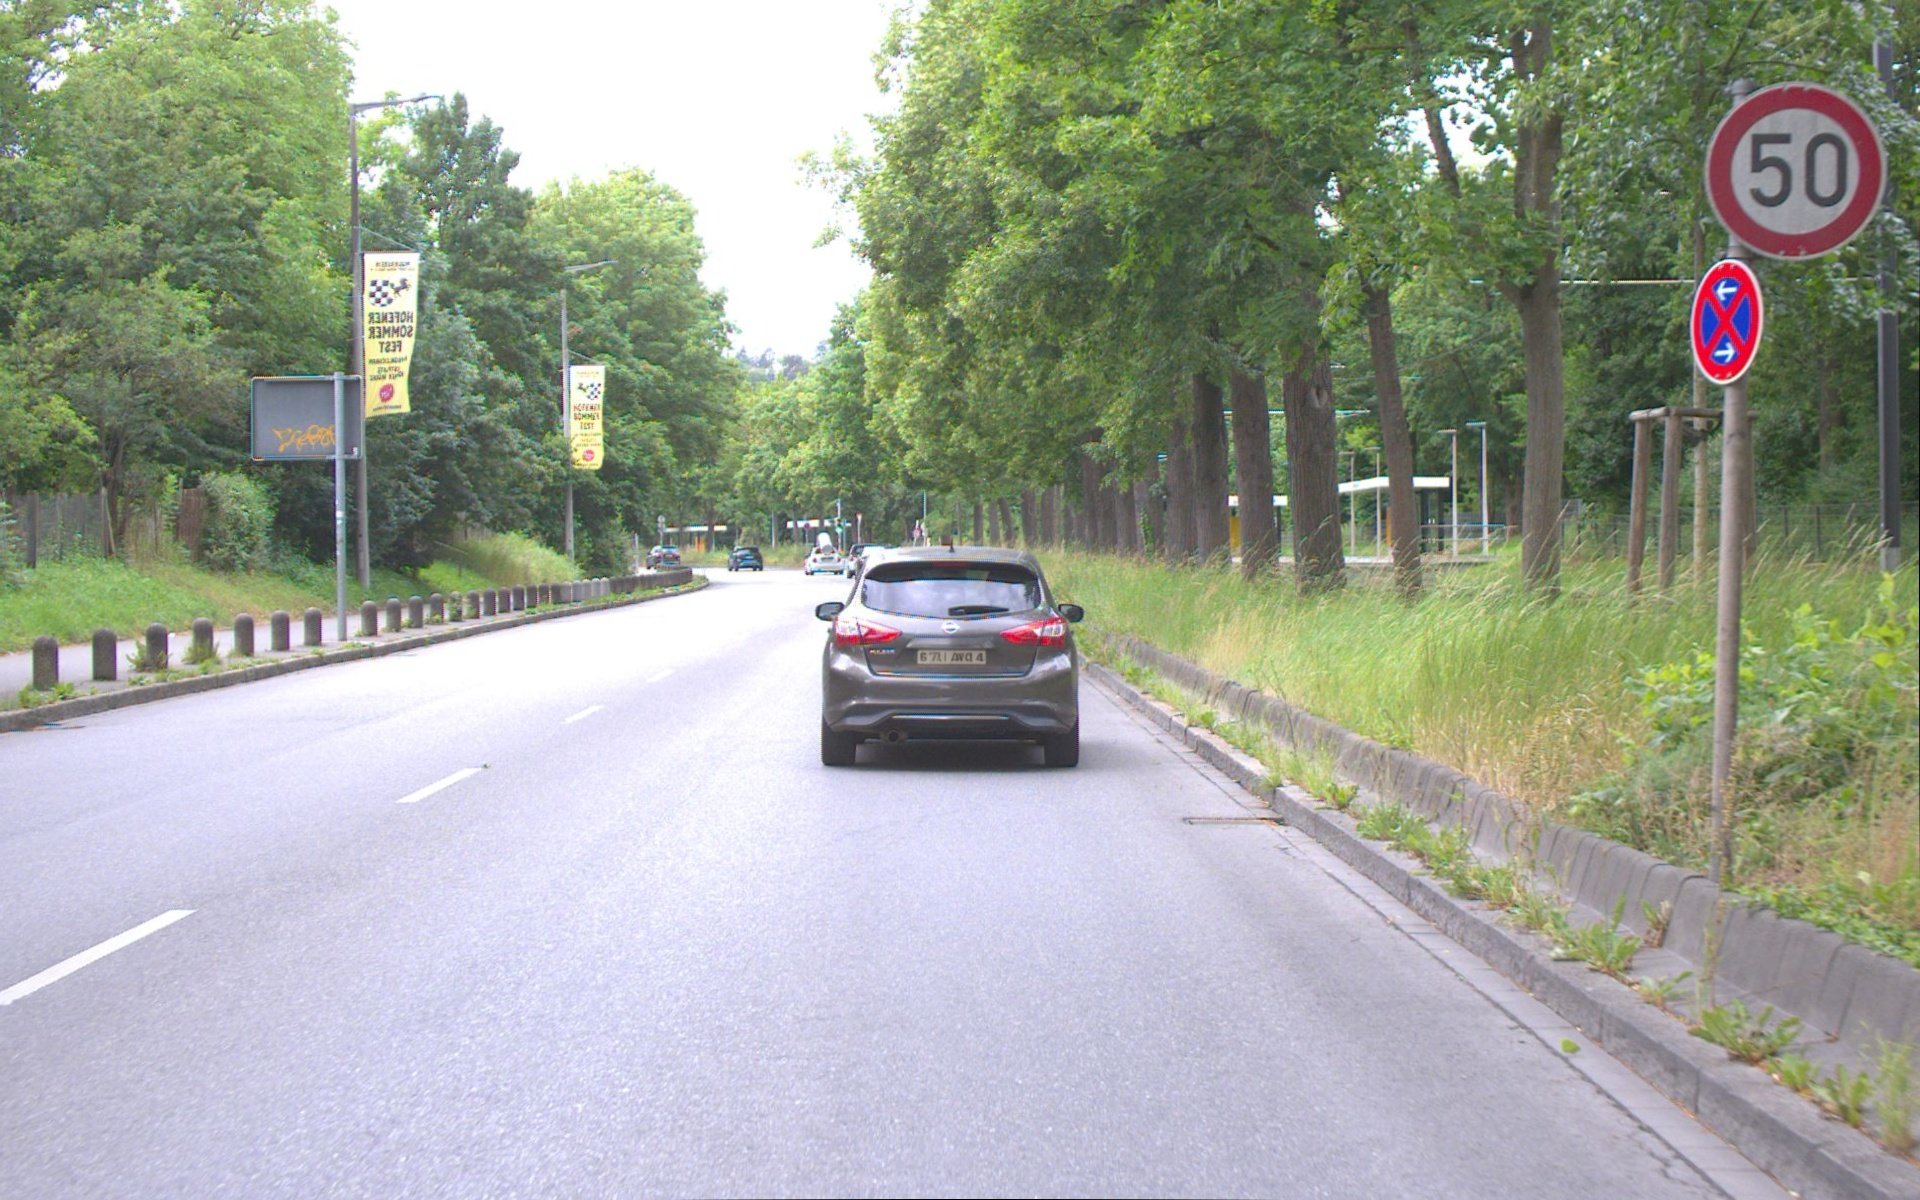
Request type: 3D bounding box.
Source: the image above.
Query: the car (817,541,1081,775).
[{"bbox_3d":[-0.117,0.359,24.623,1.730,1.532,3.552,1,1,-1],"label":"car"}]

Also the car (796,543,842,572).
[{"bbox_3d":[-7.211,-2.179,175.396,1.561,1.436,3.553,1,1,-15],"label":"car"}]

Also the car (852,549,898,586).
[{"bbox_3d":[-3.390,-1.317,137.111,1.561,1.436,3.552,1,1,-6],"label":"car"}]

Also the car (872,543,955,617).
[{"bbox_3d":[-1.028,-0.450,74.102,1.730,1.532,3.552,1,1,-1],"label":"car"}]

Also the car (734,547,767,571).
[{"bbox_3d":[-12.872,-2.503,211.189,1.561,1.436,3.553,1,1,-11],"label":"car"}]

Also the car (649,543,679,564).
[{"bbox_3d":[-20.988,-3.331,243.783,1.561,1.436,3.553,1,1,-13],"label":"car"}]

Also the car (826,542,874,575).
[{"bbox_3d":[-4.914,-1.862,153.348,1.561,1.436,3.553,1,1,-12],"label":"car"}]
